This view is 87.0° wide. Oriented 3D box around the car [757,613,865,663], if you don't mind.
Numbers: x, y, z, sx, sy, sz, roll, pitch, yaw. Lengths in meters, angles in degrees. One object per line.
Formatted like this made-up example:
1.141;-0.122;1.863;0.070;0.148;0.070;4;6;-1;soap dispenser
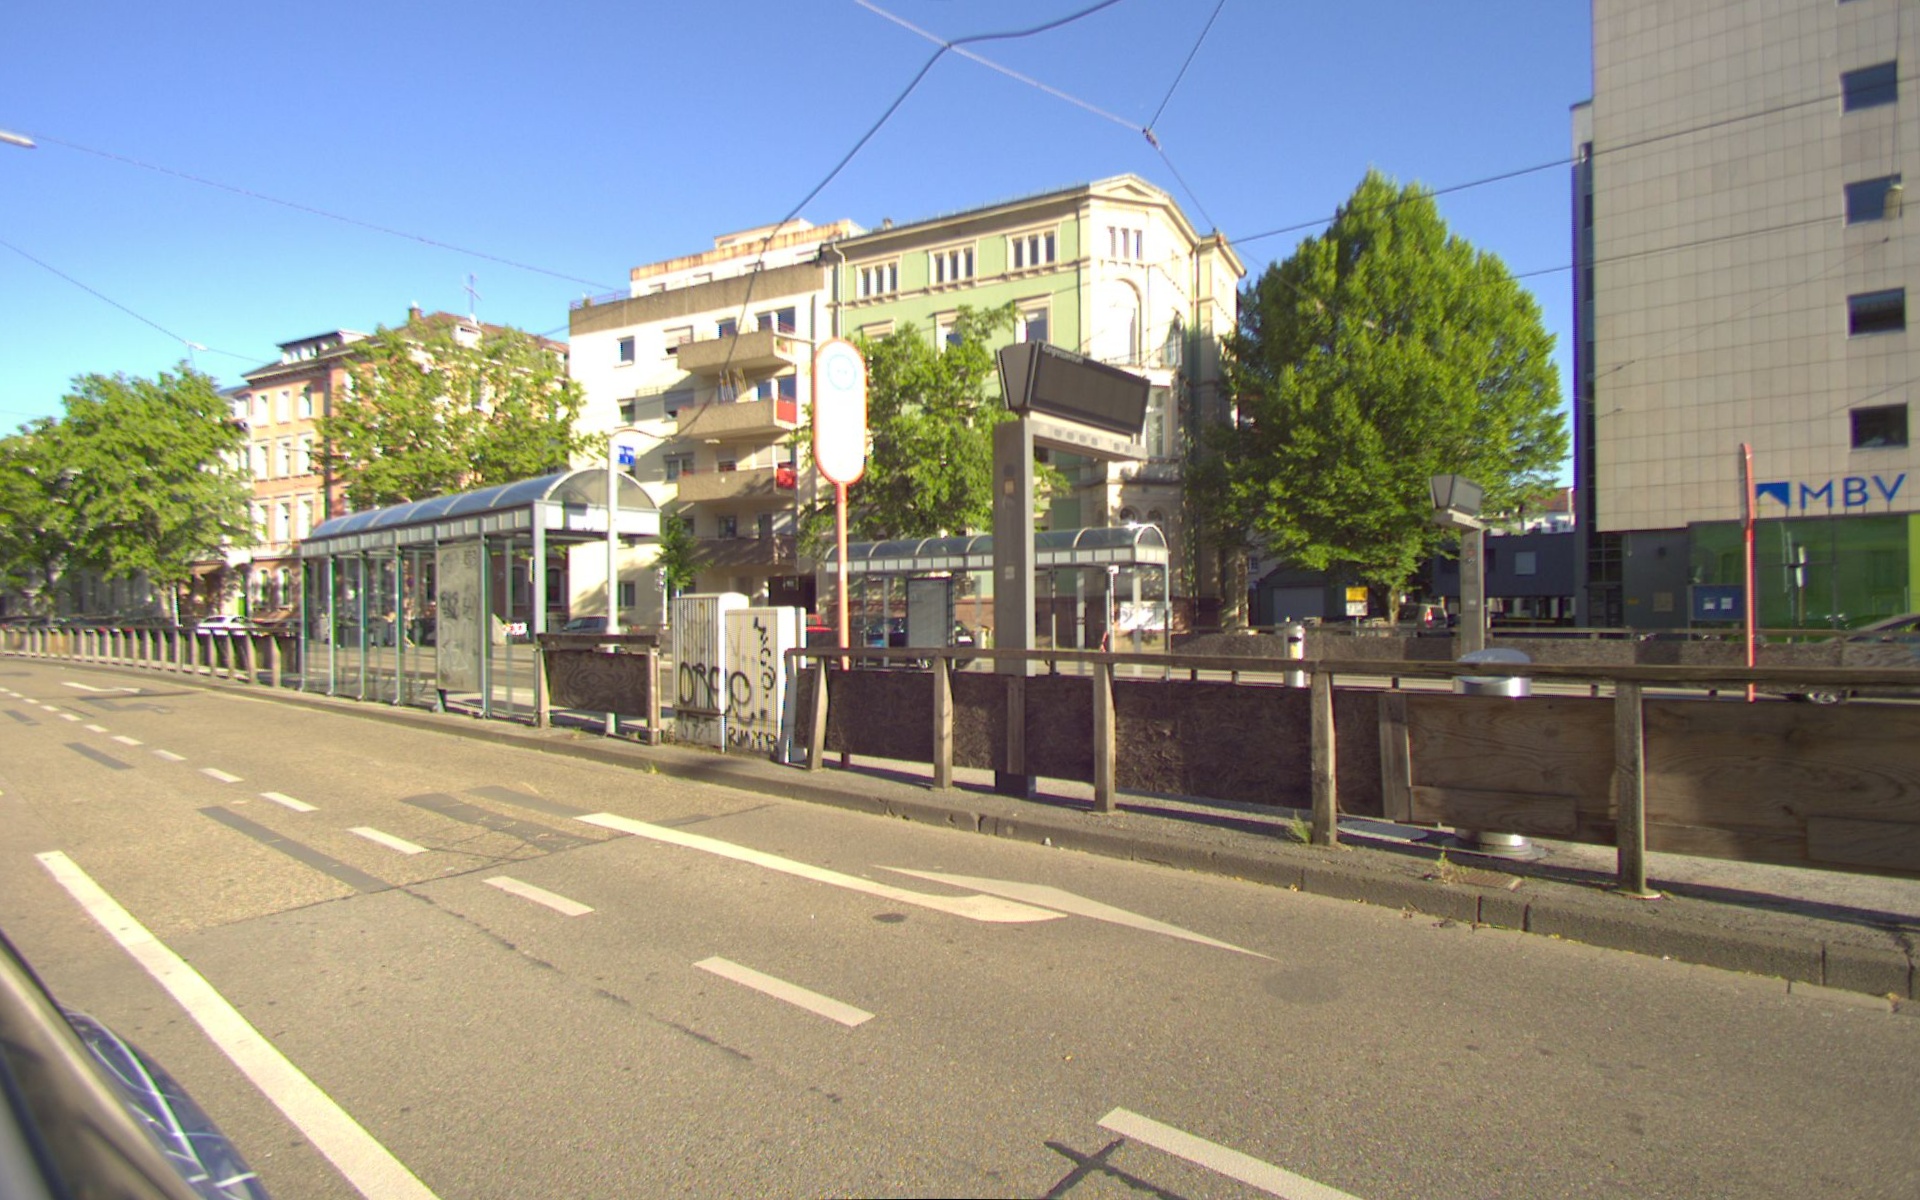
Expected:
-4.996;1.252;34.394;1.754;1.594;3.965;-1;-1;26;car

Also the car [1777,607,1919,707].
15.138;0.851;15.434;3.990;1.500;1.629;-1;-2;35;car

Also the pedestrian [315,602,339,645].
-33.029;1.218;52.812;0.753;2.224;0.804;-1;-2;30;pedestrian

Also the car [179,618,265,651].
-39.516;1.838;54.324;1.825;1.721;4.130;0;-1;-5;car

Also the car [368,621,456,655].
-23.676;1.613;43.683;3.986;1.407;1.592;-1;-2;32;car

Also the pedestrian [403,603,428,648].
-27.057;1.274;50.271;0.753;2.224;0.804;-1;-2;30;pedestrian

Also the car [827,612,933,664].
-2.562;1.220;33.346;1.754;1.594;3.965;-1;-1;26;car

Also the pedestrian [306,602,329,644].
-34.224;1.234;53.923;0.755;2.224;0.803;-1;-2;36;pedestrian

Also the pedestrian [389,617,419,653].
-25.497;1.602;46.404;0.879;1.641;0.869;0;-1;-1;pedestrian

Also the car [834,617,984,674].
-1.403;1.200;27.341;3.870;1.419;1.650;-1;-2;35;car

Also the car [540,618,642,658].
-14.045;1.424;38.517;3.725;1.438;1.637;-1;-1;29;car

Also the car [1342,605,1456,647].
15.774;0.901;36.466;1.544;1.423;3.430;-1;0;-38;car

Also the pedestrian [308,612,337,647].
-31.858;1.475;50.583;1.016;1.733;0.846;-1;-2;32;pedestrian

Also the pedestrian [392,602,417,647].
-27.891;1.215;50.812;0.753;2.224;0.804;-1;-2;30;pedestrian
